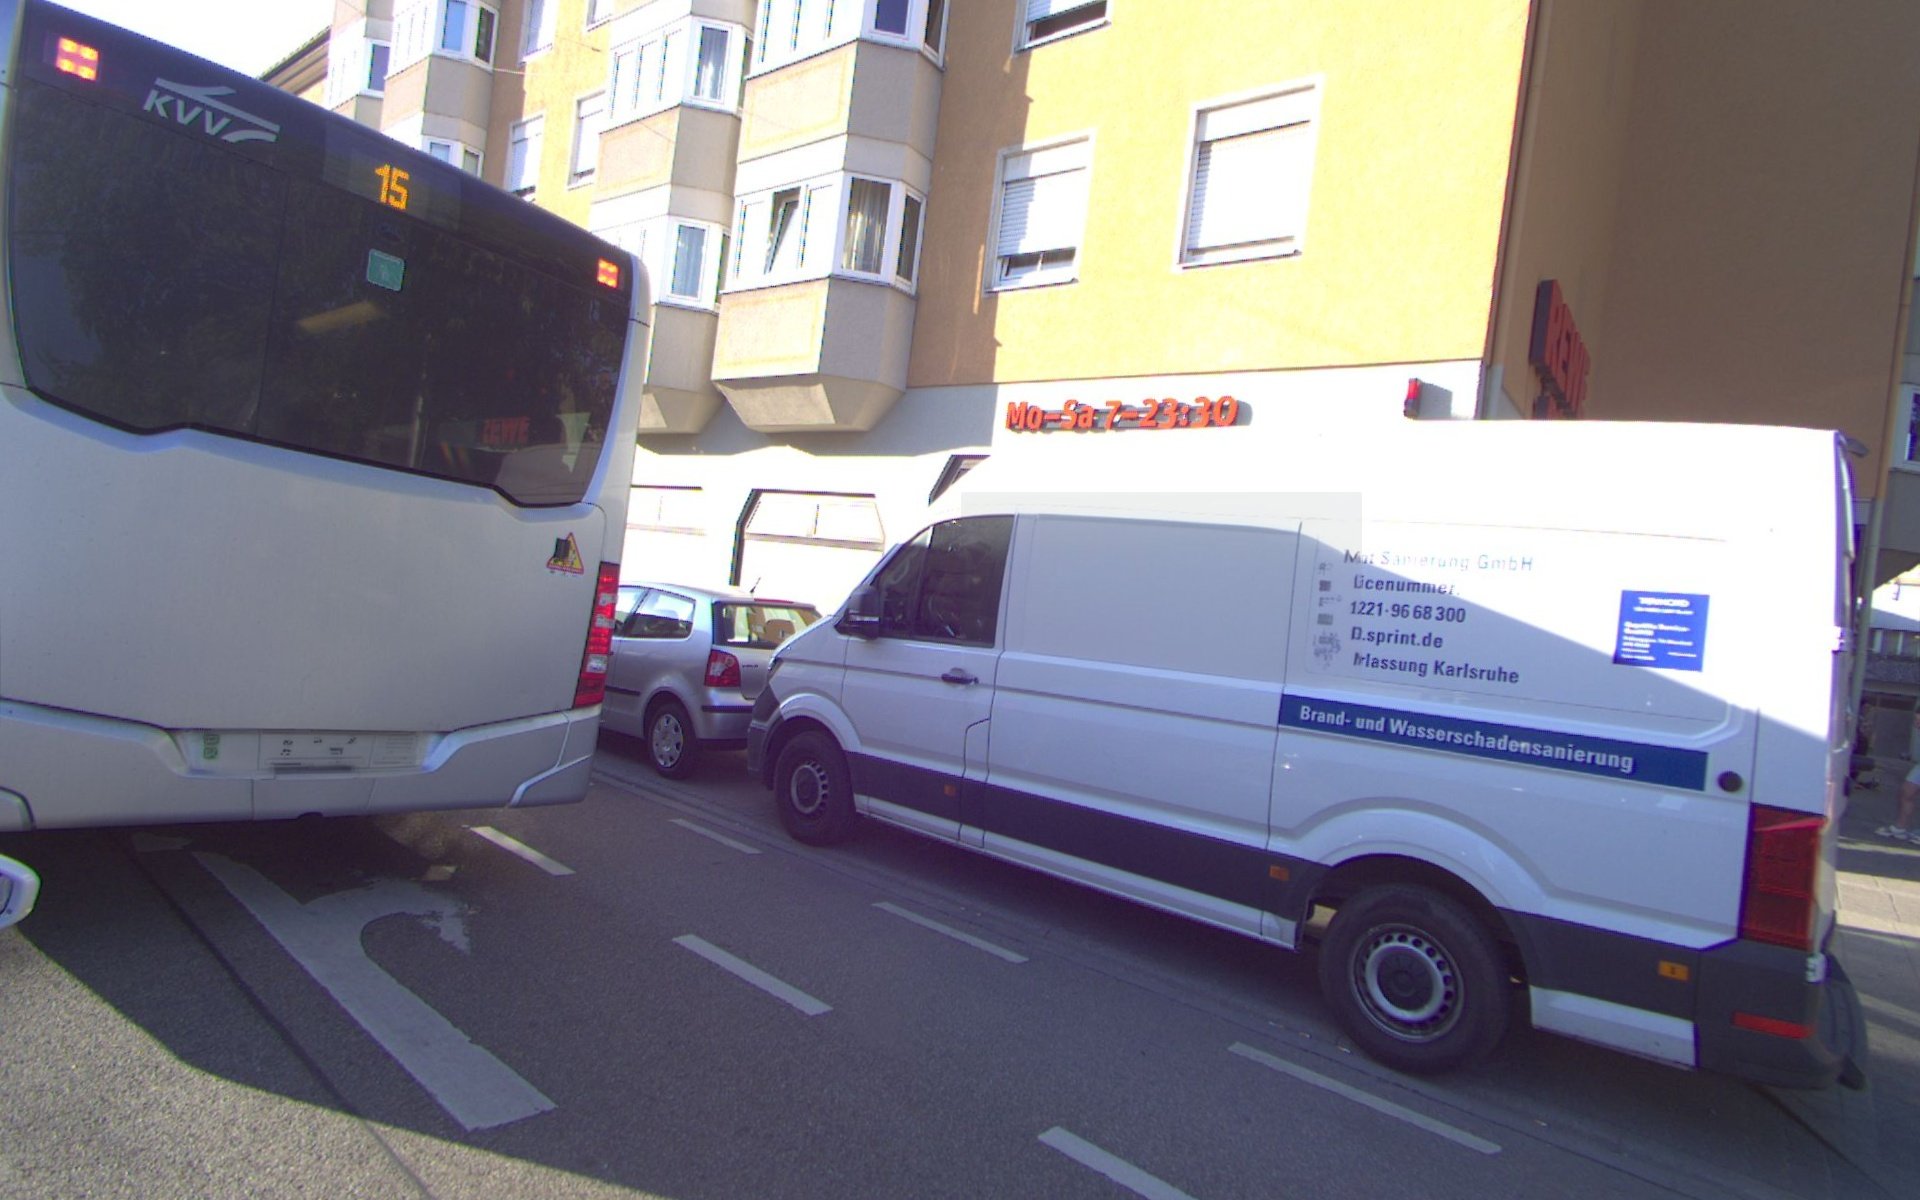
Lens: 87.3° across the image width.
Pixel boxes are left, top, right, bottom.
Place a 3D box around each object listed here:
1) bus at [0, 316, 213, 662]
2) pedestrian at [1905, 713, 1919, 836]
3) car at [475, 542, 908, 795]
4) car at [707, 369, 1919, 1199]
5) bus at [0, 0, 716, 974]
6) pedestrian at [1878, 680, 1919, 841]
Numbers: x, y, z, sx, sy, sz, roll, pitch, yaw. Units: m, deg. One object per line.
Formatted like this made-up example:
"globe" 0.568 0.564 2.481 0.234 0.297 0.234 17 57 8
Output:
"bus" -12.254 -1.433 12.347 9.000 3.091 2.737 7 -2 40
"pedestrian" 10.460 1.571 10.476 0.465 1.905 0.575 6 1 -1
"car" -2.519 0.490 9.008 3.731 1.608 1.836 7 0 40
"car" 1.210 0.405 5.575 5.701 2.586 2.012 7 3 40
"bus" -5.528 -0.664 6.585 8.727 3.091 2.737 7 -2 40
"pedestrian" 9.915 1.648 10.243 0.413 1.587 0.639 7 1 10
